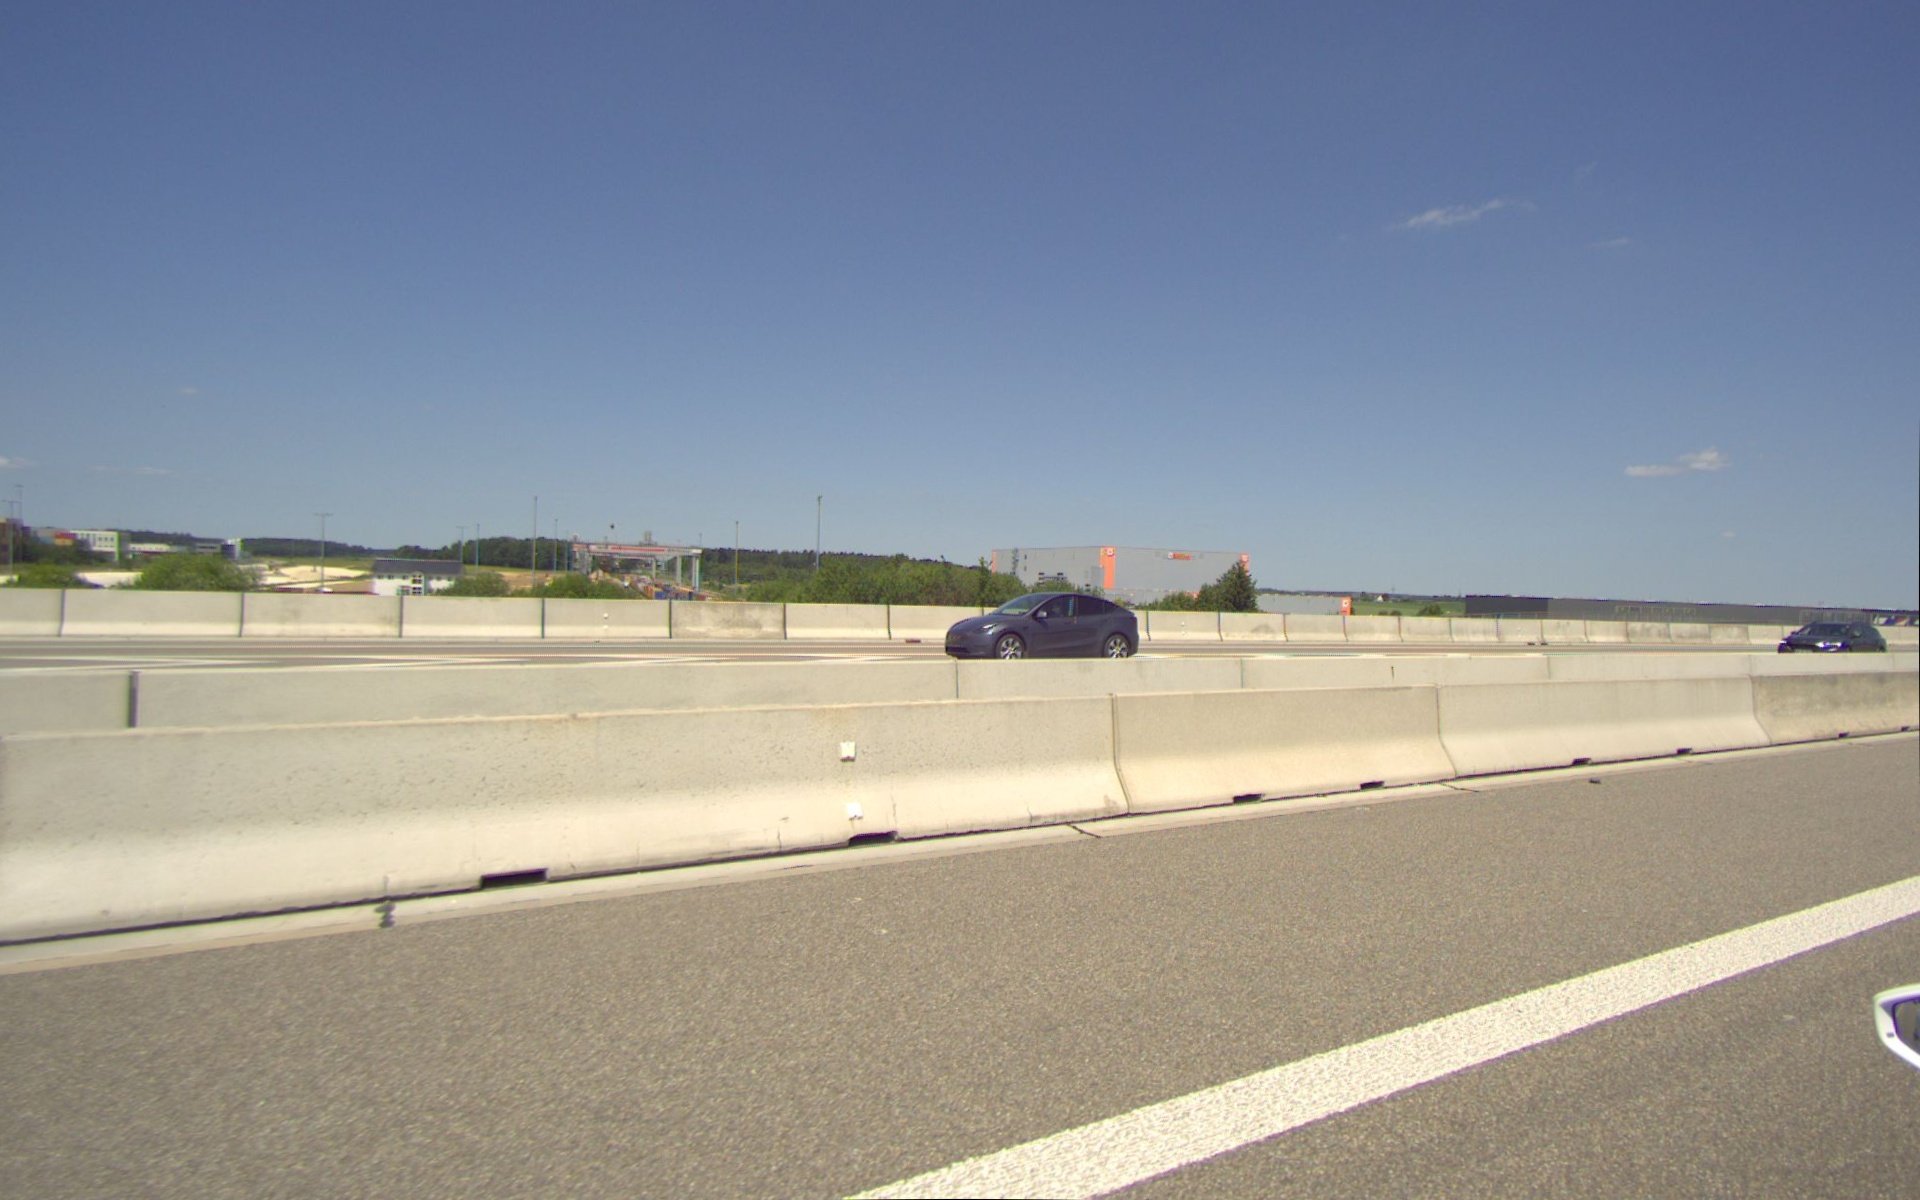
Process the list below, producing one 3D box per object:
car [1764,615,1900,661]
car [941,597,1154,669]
[{"bbox_3d":[30.001,1.301,34.545,4.846,1.439,1.905,1,0,-28],"label":"car"},{"bbox_3d":[2.000,0.713,22.585,4.496,1.439,1.902,1,1,-30],"label":"car"}]
